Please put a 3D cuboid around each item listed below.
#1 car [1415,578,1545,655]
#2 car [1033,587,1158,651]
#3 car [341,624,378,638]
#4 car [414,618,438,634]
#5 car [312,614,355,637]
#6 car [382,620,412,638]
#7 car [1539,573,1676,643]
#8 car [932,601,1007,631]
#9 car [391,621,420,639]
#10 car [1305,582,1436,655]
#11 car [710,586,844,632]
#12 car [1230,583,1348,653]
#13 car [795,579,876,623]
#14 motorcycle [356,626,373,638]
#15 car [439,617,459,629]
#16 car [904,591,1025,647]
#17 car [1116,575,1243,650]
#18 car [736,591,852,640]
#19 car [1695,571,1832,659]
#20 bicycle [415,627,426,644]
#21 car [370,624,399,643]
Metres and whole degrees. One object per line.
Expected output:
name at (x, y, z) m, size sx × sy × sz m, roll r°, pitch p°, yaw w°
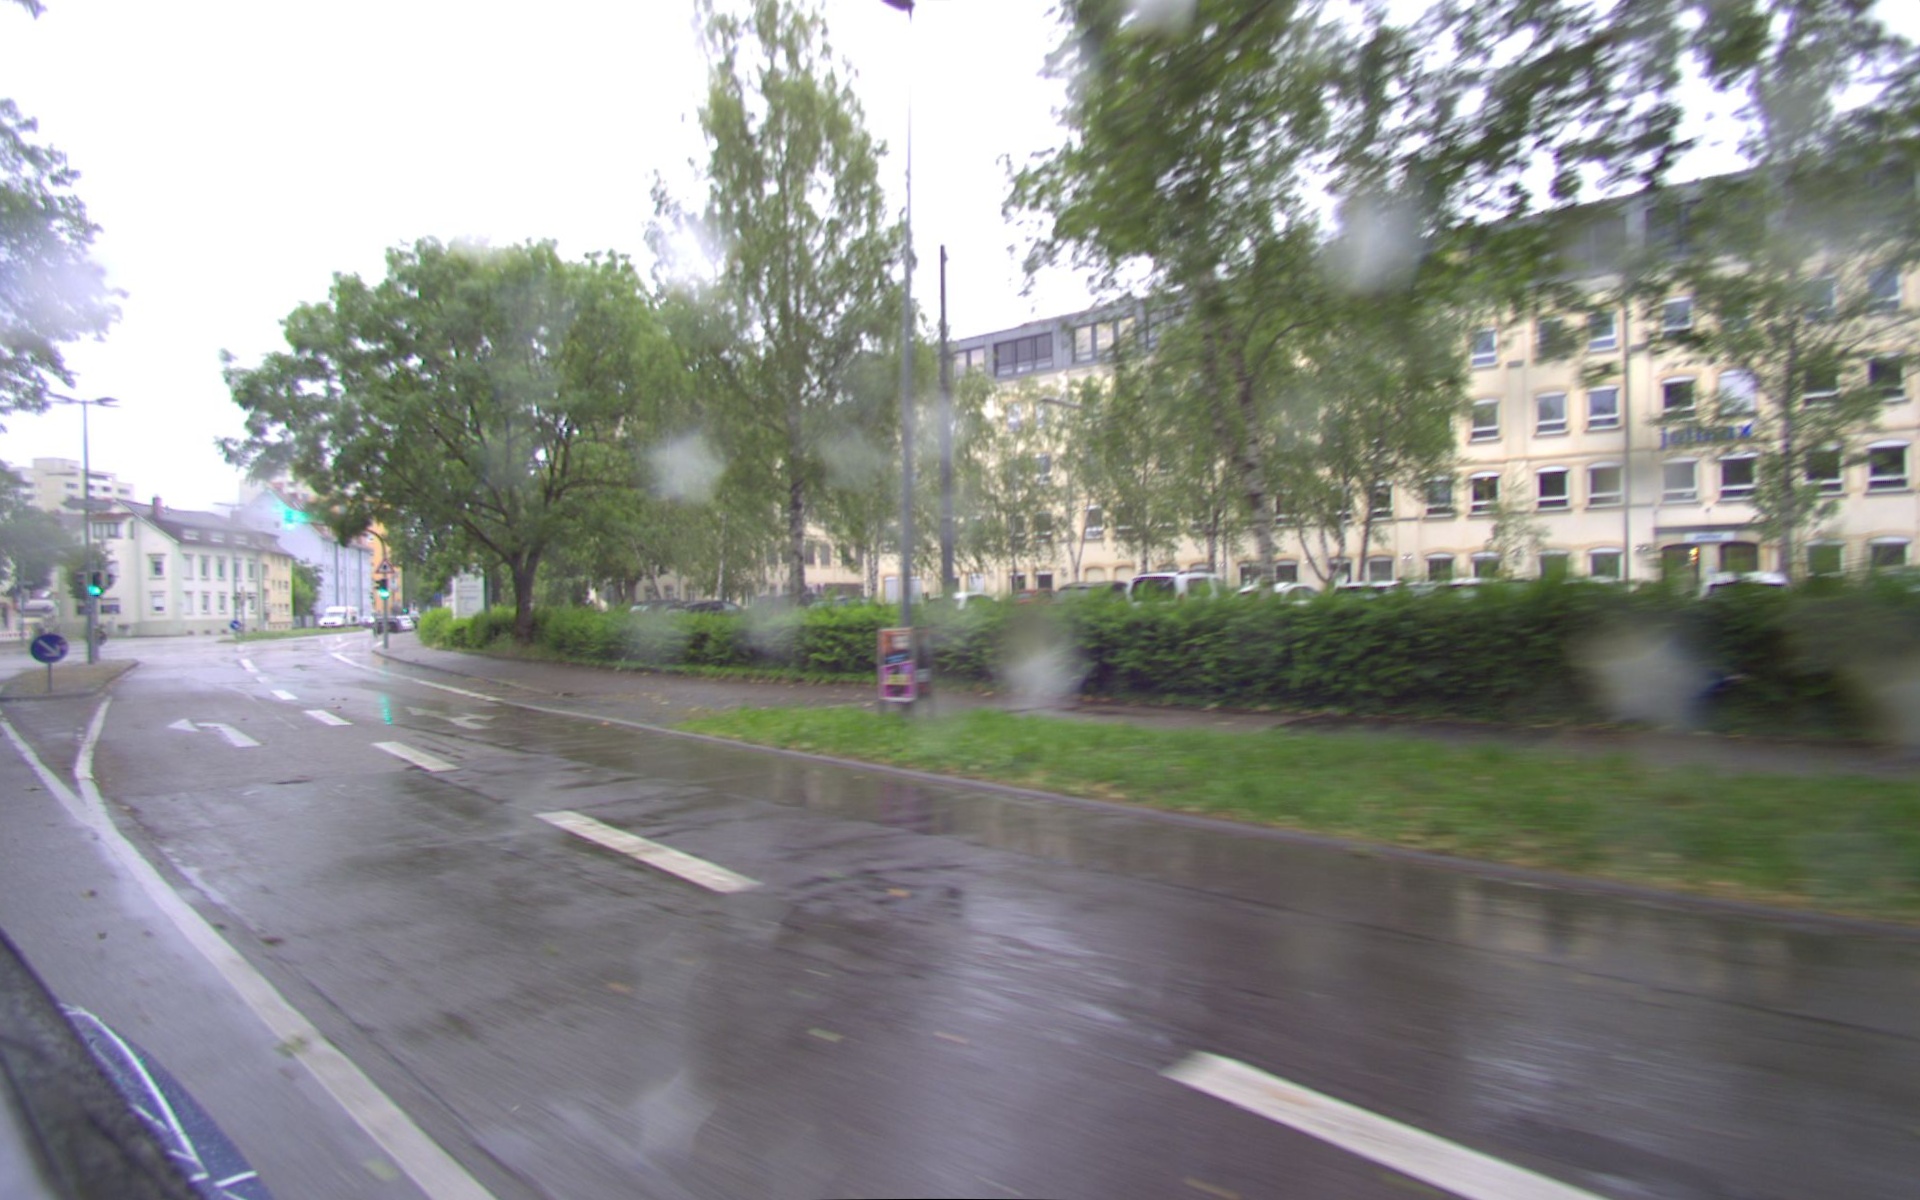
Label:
car at (12.155, 0.341, 23.530) m, size 1.853 × 1.611 × 3.947 m, roll -2°, pitch 0°, yaw 39°
car at (3.948, 0.505, 29.053) m, size 1.707 × 1.651 × 3.947 m, roll -2°, pitch 0°, yaw 39°
car at (-78.928, 4.064, 133.019) m, size 3.859 × 1.627 × 1.697 m, roll -2°, pitch 0°, yaw -20°
car at (-58.952, 2.866, 111.732) m, size 1.965 × 1.579 × 4.013 m, roll -2°, pitch 0°, yaw -22°
car at (-66.331, 2.696, 107.290) m, size 2.160 × 2.272 × 4.895 m, roll -2°, pitch 0°, yaw -10°
car at (-51.504, 2.639, 92.650) m, size 1.965 × 1.579 × 4.013 m, roll -2°, pitch 0°, yaw -22°
car at (14.084, 0.170, 21.939) m, size 1.885 × 1.384 × 3.945 m, roll -2°, pitch -1°, yaw 42°
car at (0.528, 0.827, 53.776) m, size 1.997 × 1.530 × 3.950 m, roll -2°, pitch -1°, yaw 37°
car at (-53.651, 2.919, 97.959) m, size 1.965 × 1.579 × 4.013 m, roll -2°, pitch 0°, yaw -22°
car at (10.187, 0.415, 24.970) m, size 1.853 × 1.611 × 3.947 m, roll -2°, pitch 0°, yaw 39°
car at (-5.932, 0.274, 33.068) m, size 3.937 × 1.348 × 1.719 m, roll -2°, pitch 0°, yaw -39°
car at (8.397, 0.419, 25.642) m, size 1.715 × 1.611 × 3.772 m, roll -2°, pitch 0°, yaw 36°
car at (-9.851, 0.040, 80.681) m, size 2.834 × 3.217 × 6.139 m, roll -2°, pitch 0°, yaw 37°
motorcycle at (-76.045, 4.071, 129.329) m, size 1.738 × 1.383 × 0.737 m, roll -2°, pitch 0°, yaw -20°
car at (-66.071, 3.010, 130.789) m, size 1.965 × 1.431 × 4.013 m, roll -2°, pitch 0°, yaw -22°
car at (0.216, 0.590, 32.901) m, size 1.996 × 1.651 × 3.952 m, roll -2°, pitch 0°, yaw 36°
car at (5.949, 0.299, 27.128) m, size 1.851 × 1.847 × 3.952 m, roll -2°, pitch 0°, yaw 36°
car at (-5.976, 0.546, 36.696) m, size 1.651 × 1.623 × 3.944 m, roll -2°, pitch 0°, yaw 43°
car at (15.994, 0.248, 20.082) m, size 1.885 × 1.562 × 3.945 m, roll -2°, pitch 0°, yaw 42°
bicycle at (-39.357, 2.605, 73.810) m, size 0.687 × 1.195 × 1.629 m, roll -2°, pitch 0°, yaw -27°
car at (-46.850, 2.712, 82.386) m, size 1.523 × 1.408 × 4.208 m, roll -3°, pitch 0°, yaw -23°
